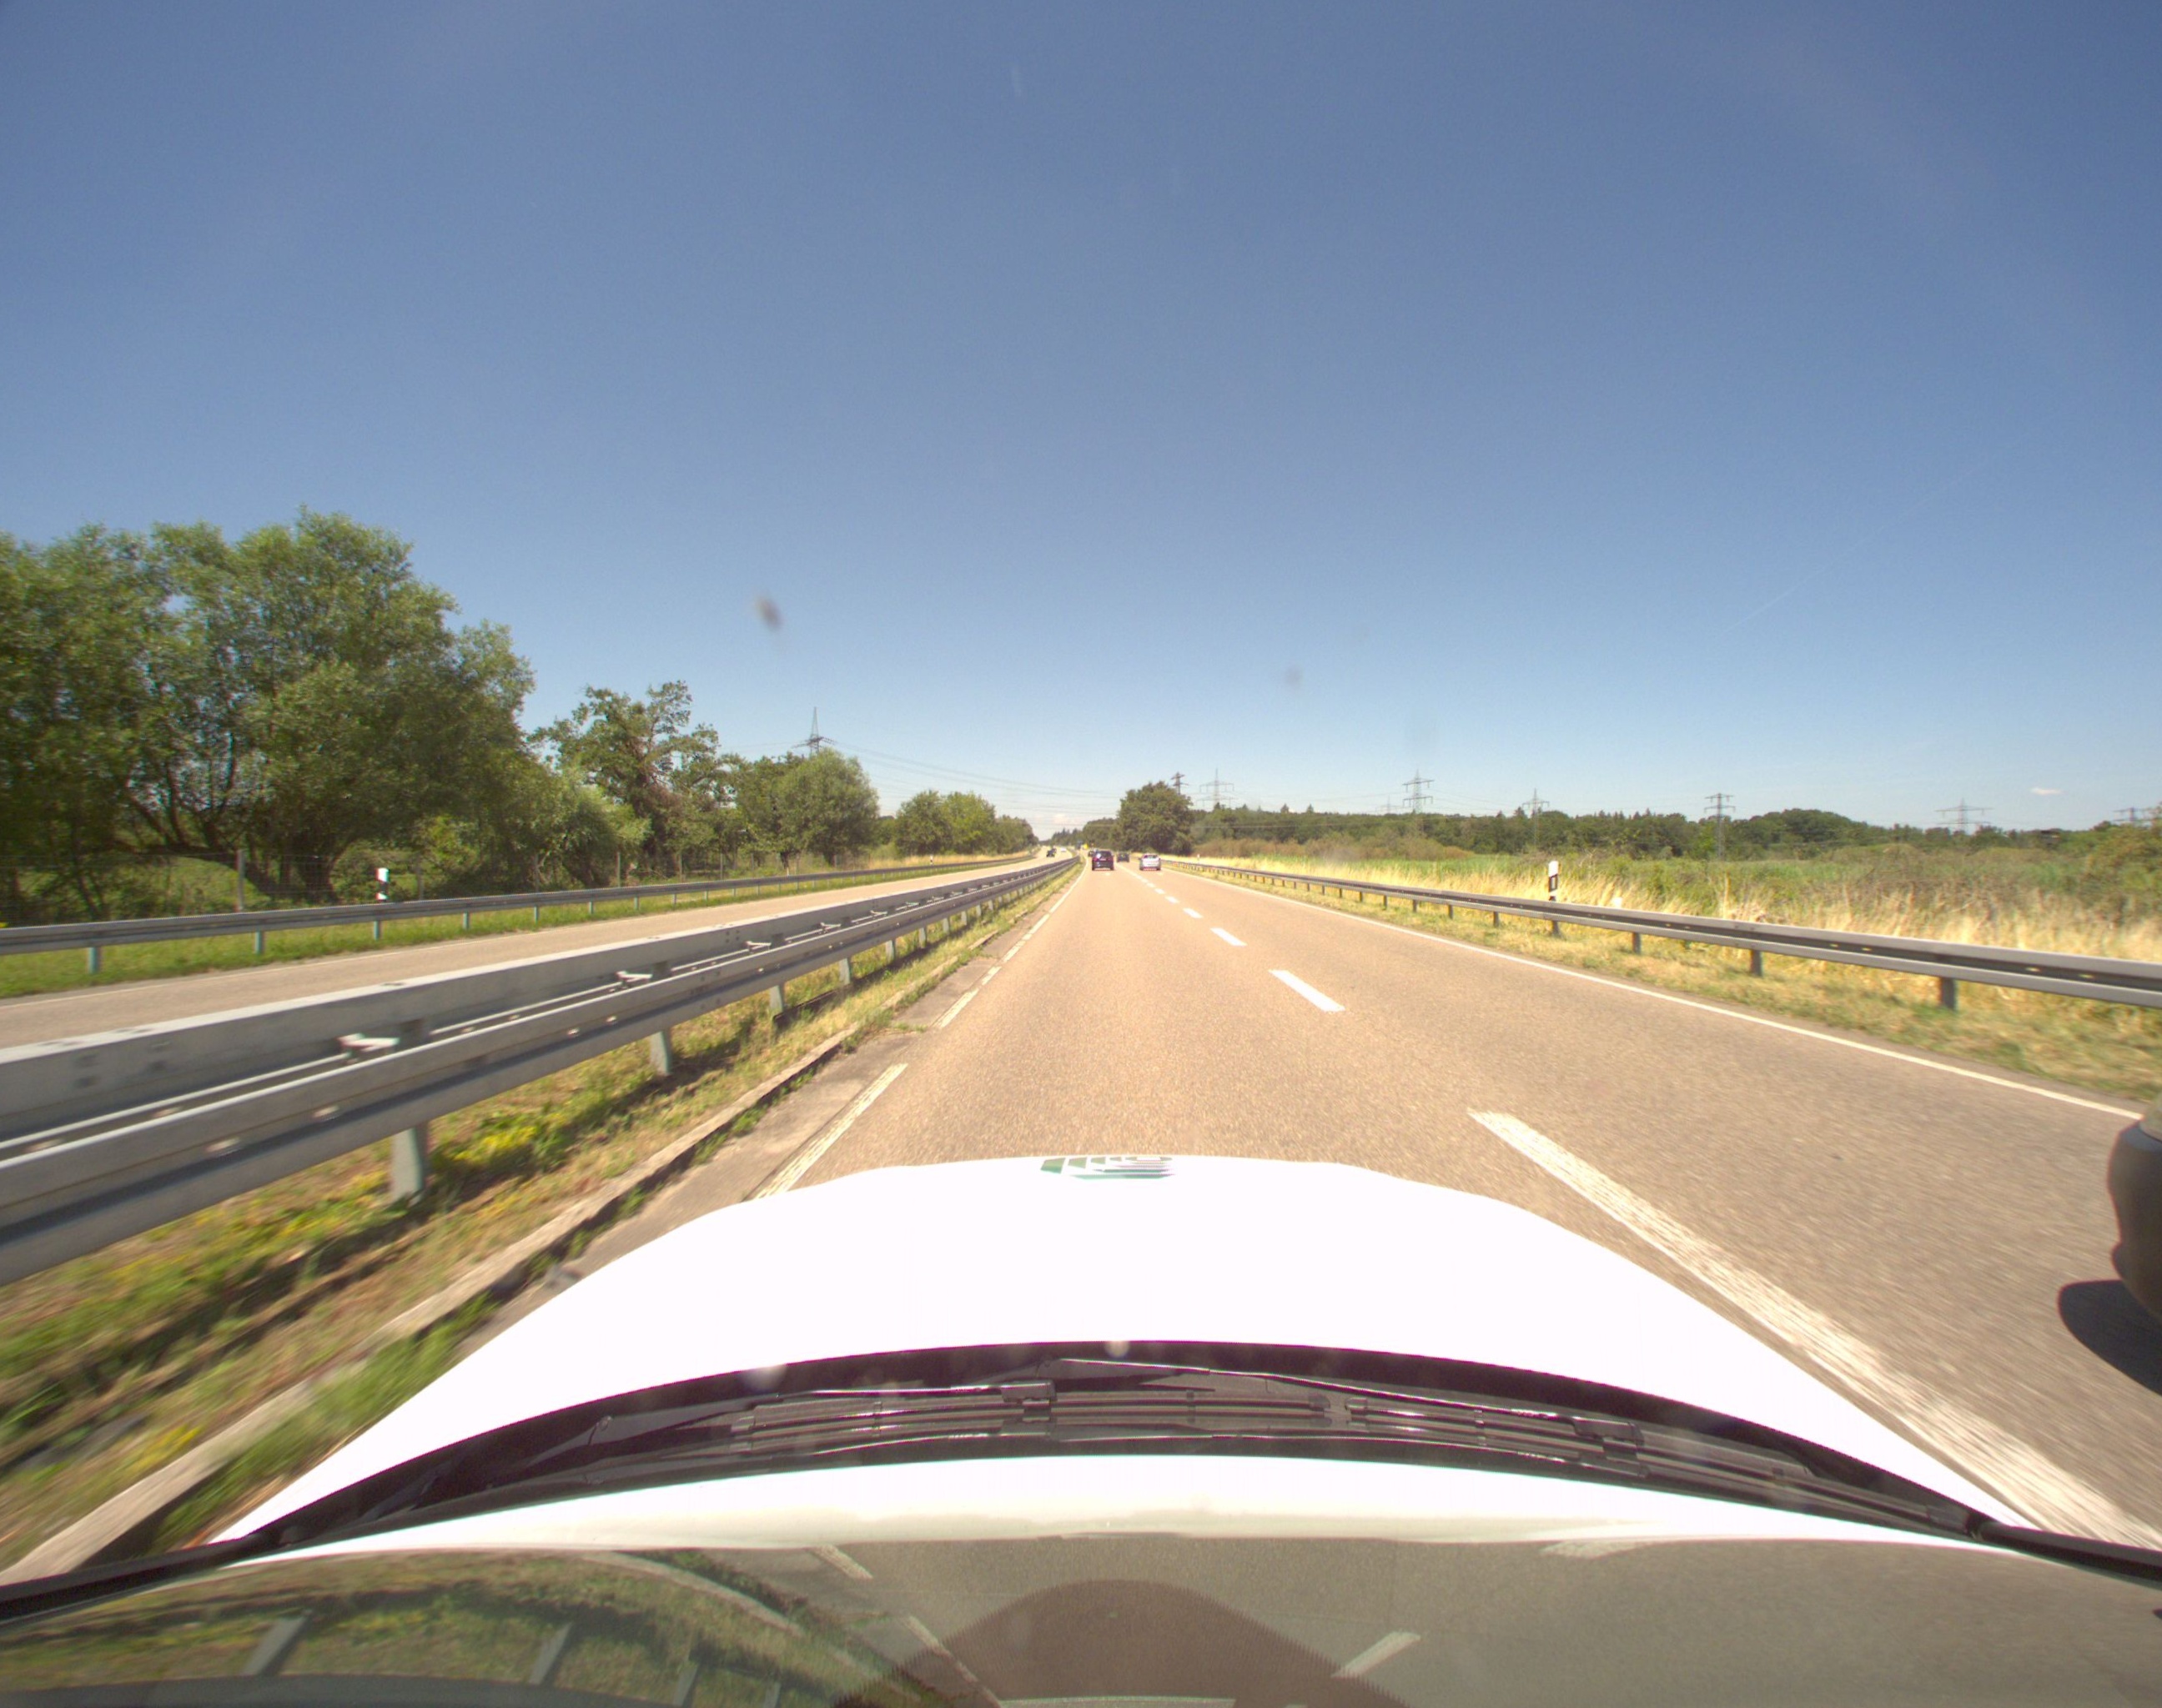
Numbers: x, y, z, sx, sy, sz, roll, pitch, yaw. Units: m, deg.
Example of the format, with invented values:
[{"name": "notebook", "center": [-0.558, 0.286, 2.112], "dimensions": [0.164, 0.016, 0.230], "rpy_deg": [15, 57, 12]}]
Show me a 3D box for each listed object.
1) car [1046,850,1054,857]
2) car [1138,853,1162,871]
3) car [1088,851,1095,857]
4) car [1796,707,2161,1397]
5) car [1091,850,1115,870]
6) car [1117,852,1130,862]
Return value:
[{"name": "car", "center": [-7.399, -0.055, 194.173], "dimensions": [1.827, 1.475, 3.680], "rpy_deg": [-3, 0, -3]}, {"name": "car", "center": [5.885, 0.647, 69.637], "dimensions": [1.772, 1.479, 4.317], "rpy_deg": [0, 0, 2]}, {"name": "car", "center": [2.413, 0.050, 188.814], "dimensions": [1.509, 1.475, 3.067], "rpy_deg": [0, 0, 2]}, {"name": "car", "center": [3.691, 0.518, 1.155], "dimensions": [1.773, 1.817, 4.215], "rpy_deg": [0, 0, 2]}, {"name": "car", "center": [1.935, 0.481, 70.669], "dimensions": [1.986, 1.654, 4.002], "rpy_deg": [0, 0, 2]}, {"name": "car", "center": [6.199, 0.458, 119.752], "dimensions": [1.812, 1.414, 4.002], "rpy_deg": [0, 0, 2]}]
